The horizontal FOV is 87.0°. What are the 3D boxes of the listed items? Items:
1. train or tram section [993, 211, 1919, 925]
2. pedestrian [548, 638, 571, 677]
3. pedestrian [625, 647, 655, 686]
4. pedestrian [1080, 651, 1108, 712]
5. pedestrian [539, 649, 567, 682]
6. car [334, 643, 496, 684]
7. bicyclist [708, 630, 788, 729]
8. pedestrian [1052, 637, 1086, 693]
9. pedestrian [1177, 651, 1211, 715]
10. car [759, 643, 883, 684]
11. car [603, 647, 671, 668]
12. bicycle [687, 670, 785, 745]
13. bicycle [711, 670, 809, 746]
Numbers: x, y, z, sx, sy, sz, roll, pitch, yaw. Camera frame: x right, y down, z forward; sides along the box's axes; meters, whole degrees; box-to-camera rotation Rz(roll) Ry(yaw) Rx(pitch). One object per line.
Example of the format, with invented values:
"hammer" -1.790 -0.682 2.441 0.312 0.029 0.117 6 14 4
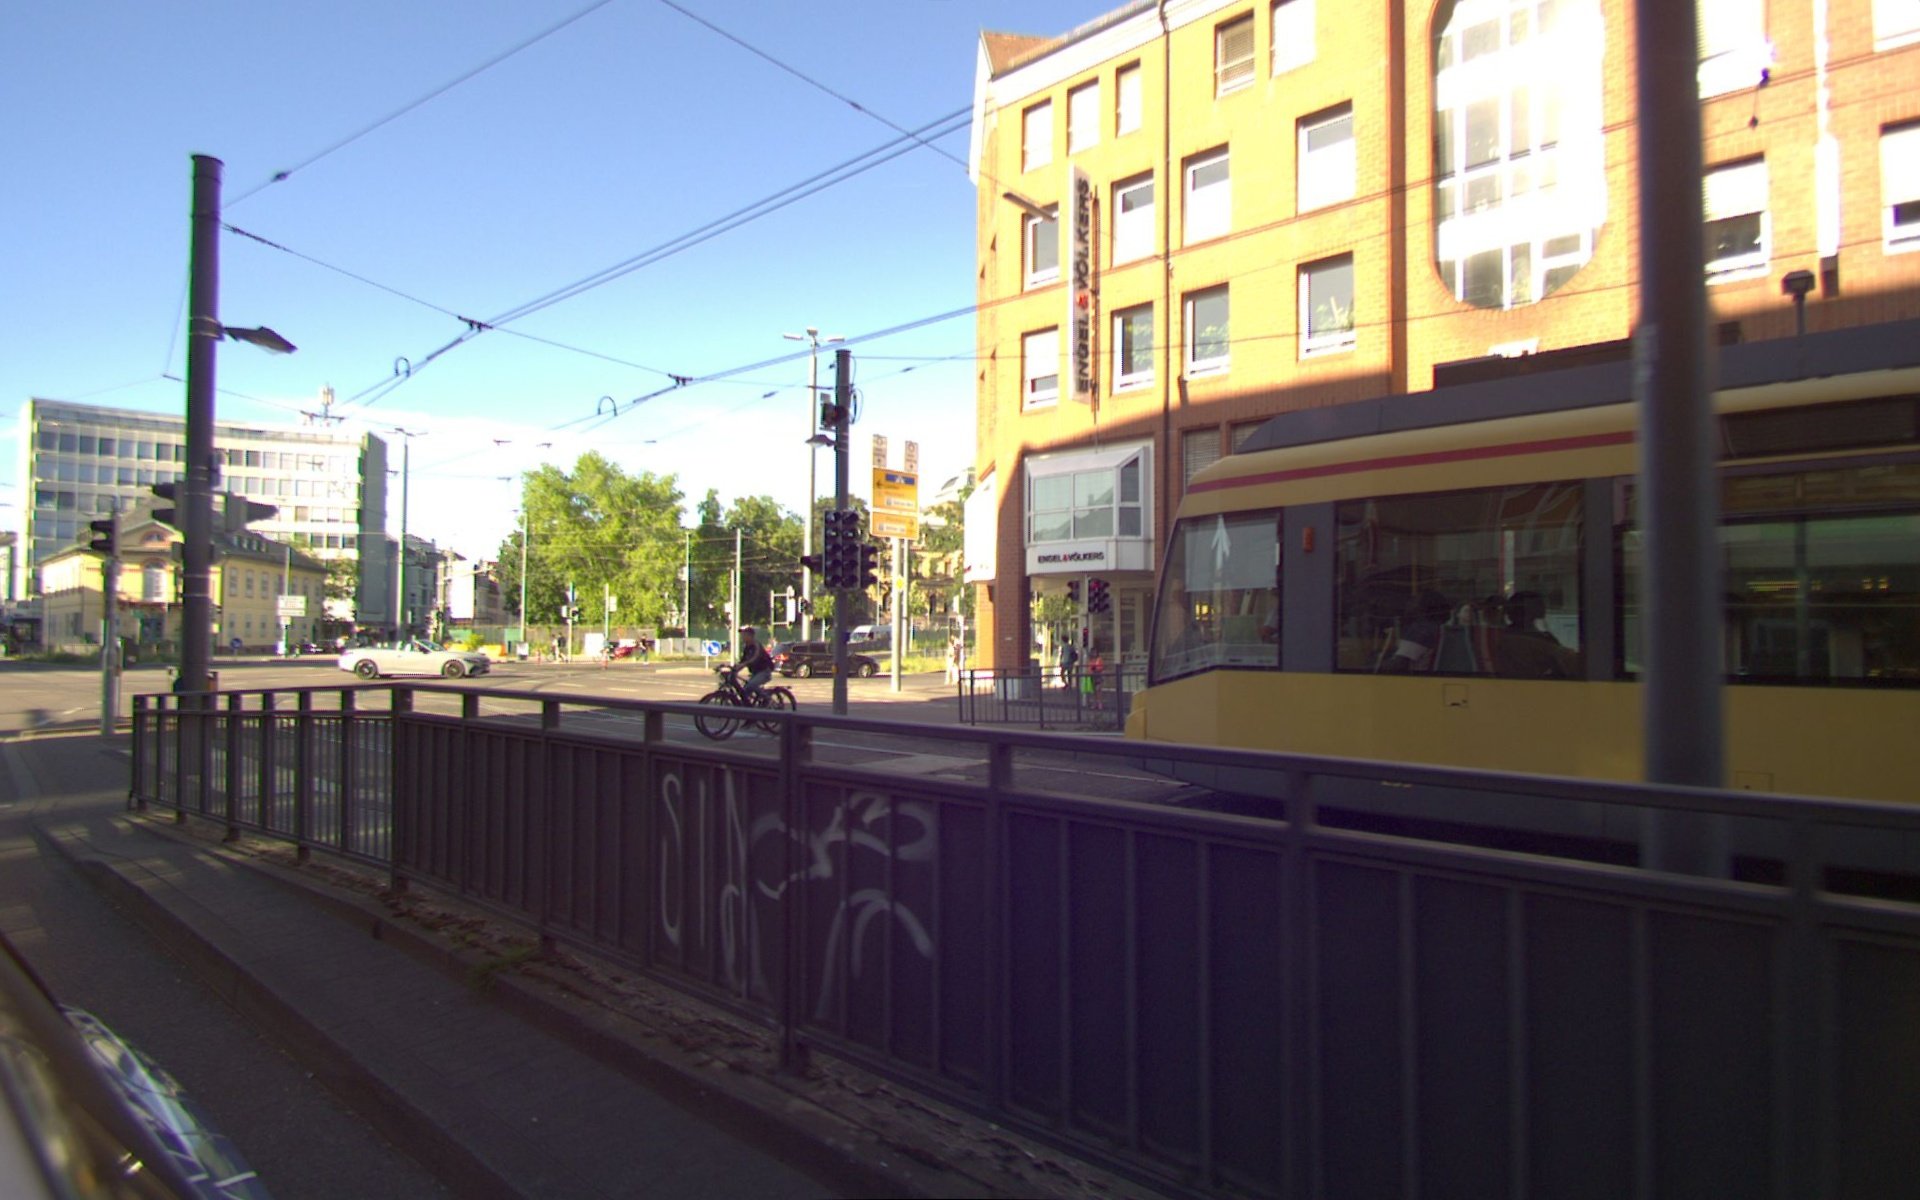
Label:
"train or tram section" 6.489 -0.182 5.784 13.938 3.672 2.942 -2 -2 42
"pedestrian" -21.749 3.096 54.975 1.092 2.029 1.217 -1 -1 -18
"pedestrian" -17.462 3.621 55.259 1.422 2.029 1.182 -1 -1 -13
"pedestrian" 3.249 1.967 24.557 0.580 1.429 0.607 -1 -3 17
"pedestrian" -26.968 4.309 67.002 1.507 2.029 1.665 -1 -1 -29
"car" -19.106 2.211 35.690 4.619 1.369 2.003 0 -3 -6
"bicyclist" -3.125 1.152 14.925 0.899 1.391 0.741 -2 -3 36
"pedestrian" 3.211 1.909 29.817 0.671 1.603 0.817 -2 -3 34
"pedestrian" 5.330 1.872 23.047 0.580 1.429 0.514 -2 -4 38
"car" -5.532 2.513 40.482 4.458 1.548 2.005 2 -3 -33
"car" -21.956 3.878 68.947 1.926 1.369 4.077 -2 -3 34
"bicycle" -3.343 1.588 15.224 0.417 1.041 1.573 -2 -3 35
"bicycle" -2.931 1.566 14.979 0.417 1.029 1.573 -2 -3 35
